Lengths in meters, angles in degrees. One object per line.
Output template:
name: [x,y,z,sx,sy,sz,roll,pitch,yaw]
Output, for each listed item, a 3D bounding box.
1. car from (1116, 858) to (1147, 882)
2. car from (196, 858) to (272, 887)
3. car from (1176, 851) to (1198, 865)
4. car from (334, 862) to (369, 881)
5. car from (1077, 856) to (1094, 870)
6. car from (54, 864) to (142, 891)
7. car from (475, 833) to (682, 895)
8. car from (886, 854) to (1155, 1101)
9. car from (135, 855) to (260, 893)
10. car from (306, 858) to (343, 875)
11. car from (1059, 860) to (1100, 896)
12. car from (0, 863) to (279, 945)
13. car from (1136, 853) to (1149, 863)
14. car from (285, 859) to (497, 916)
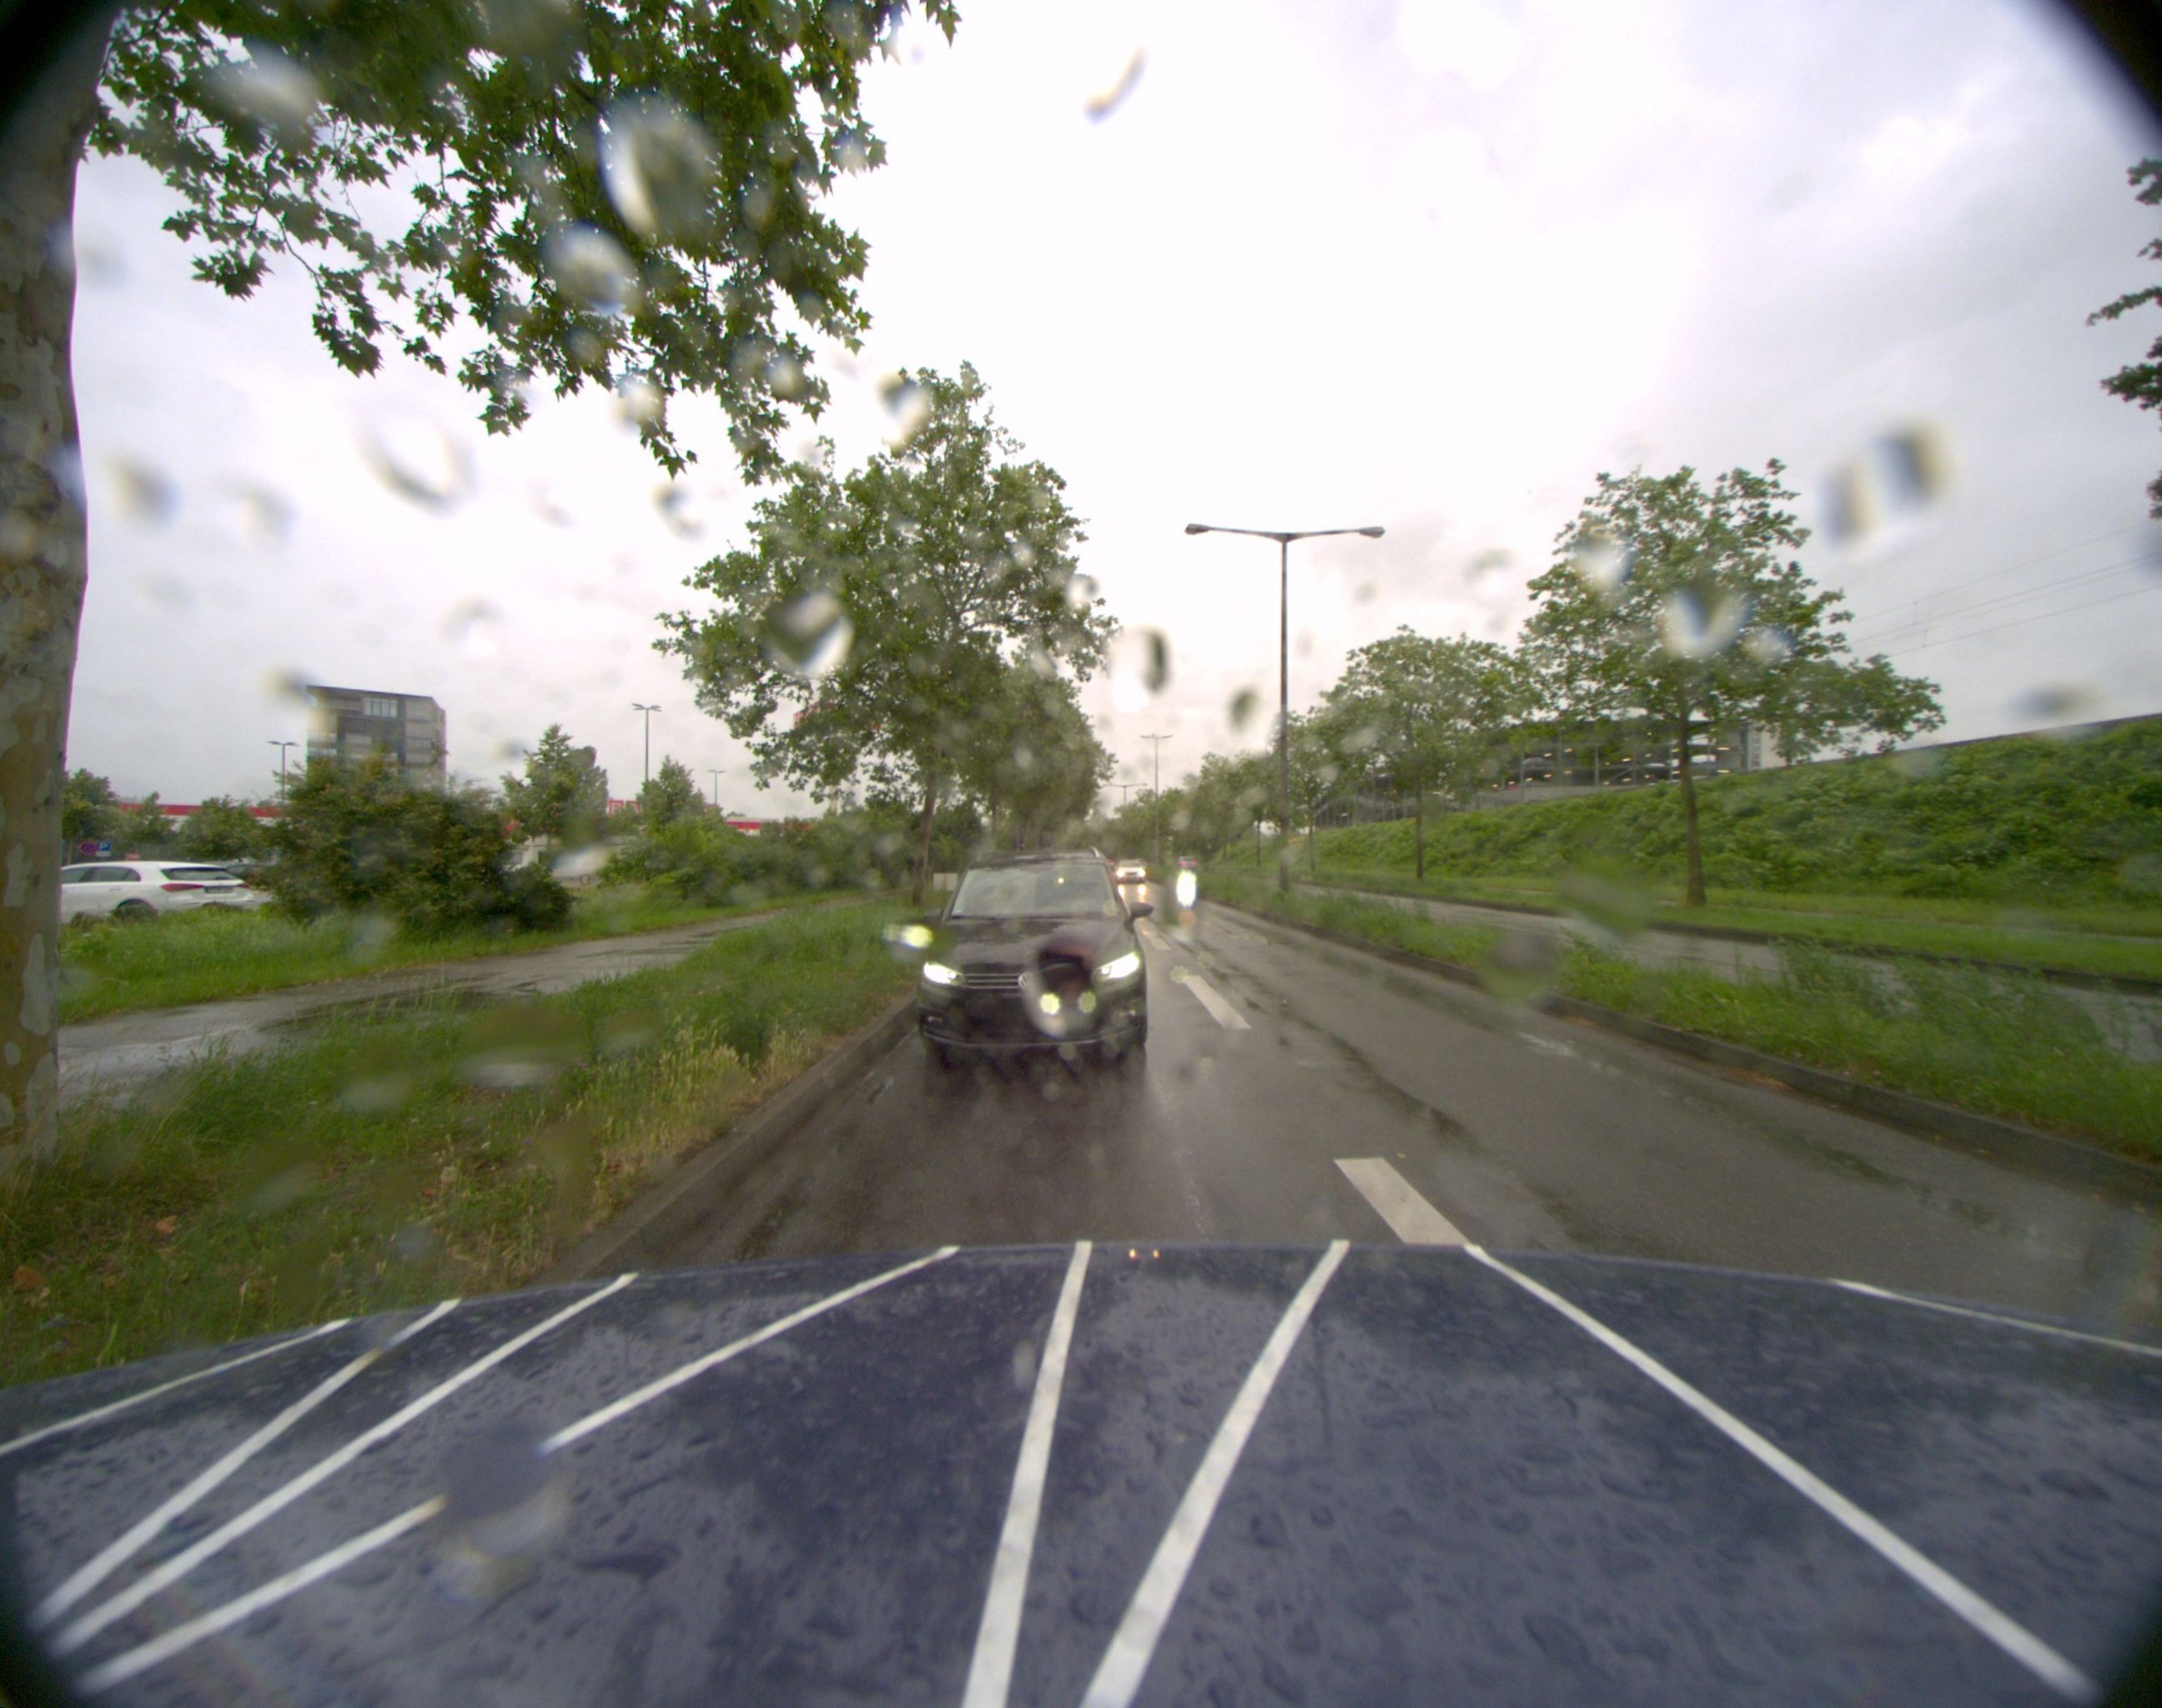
car: [3.107,0.989,47.381,1.683,1.368,4.011,-2,0,1]
car: [-49.973,1.045,44.939,1.933,1.543,4.262,0,0,-33]
car: [11.200,0.368,80.529,1.724,1.456,4.092,0,0,0]
car: [-69.160,1.617,72.082,2.007,1.667,4.261,0,0,-38]
car: [0.481,0.957,81.728,1.724,1.456,4.092,-2,0,1]
car: [-61.908,1.444,47.964,1.933,1.543,4.263,0,0,-30]
car: [-19.672,0.370,30.090,6.425,2.349,2.390,0,0,-8]
car: [-0.452,0.841,7.490,1.771,1.596,4.626,-2,0,-1]
car: [-44.660,0.976,38.547,3.787,1.708,1.687,-3,1,-37]
car: [-78.475,1.244,78.874,2.006,1.667,4.262,0,0,-35]
car: [-0.077,1.048,34.925,1.724,1.456,4.092,-2,0,0]
car: [-19.799,0.972,15.670,4.272,1.543,1.929,0,0,-4]
car: [9.423,0.630,116.289,1.724,1.456,4.092,0,0,0]
car: [-19.952,0.931,22.140,4.272,1.543,1.929,0,0,-4]
